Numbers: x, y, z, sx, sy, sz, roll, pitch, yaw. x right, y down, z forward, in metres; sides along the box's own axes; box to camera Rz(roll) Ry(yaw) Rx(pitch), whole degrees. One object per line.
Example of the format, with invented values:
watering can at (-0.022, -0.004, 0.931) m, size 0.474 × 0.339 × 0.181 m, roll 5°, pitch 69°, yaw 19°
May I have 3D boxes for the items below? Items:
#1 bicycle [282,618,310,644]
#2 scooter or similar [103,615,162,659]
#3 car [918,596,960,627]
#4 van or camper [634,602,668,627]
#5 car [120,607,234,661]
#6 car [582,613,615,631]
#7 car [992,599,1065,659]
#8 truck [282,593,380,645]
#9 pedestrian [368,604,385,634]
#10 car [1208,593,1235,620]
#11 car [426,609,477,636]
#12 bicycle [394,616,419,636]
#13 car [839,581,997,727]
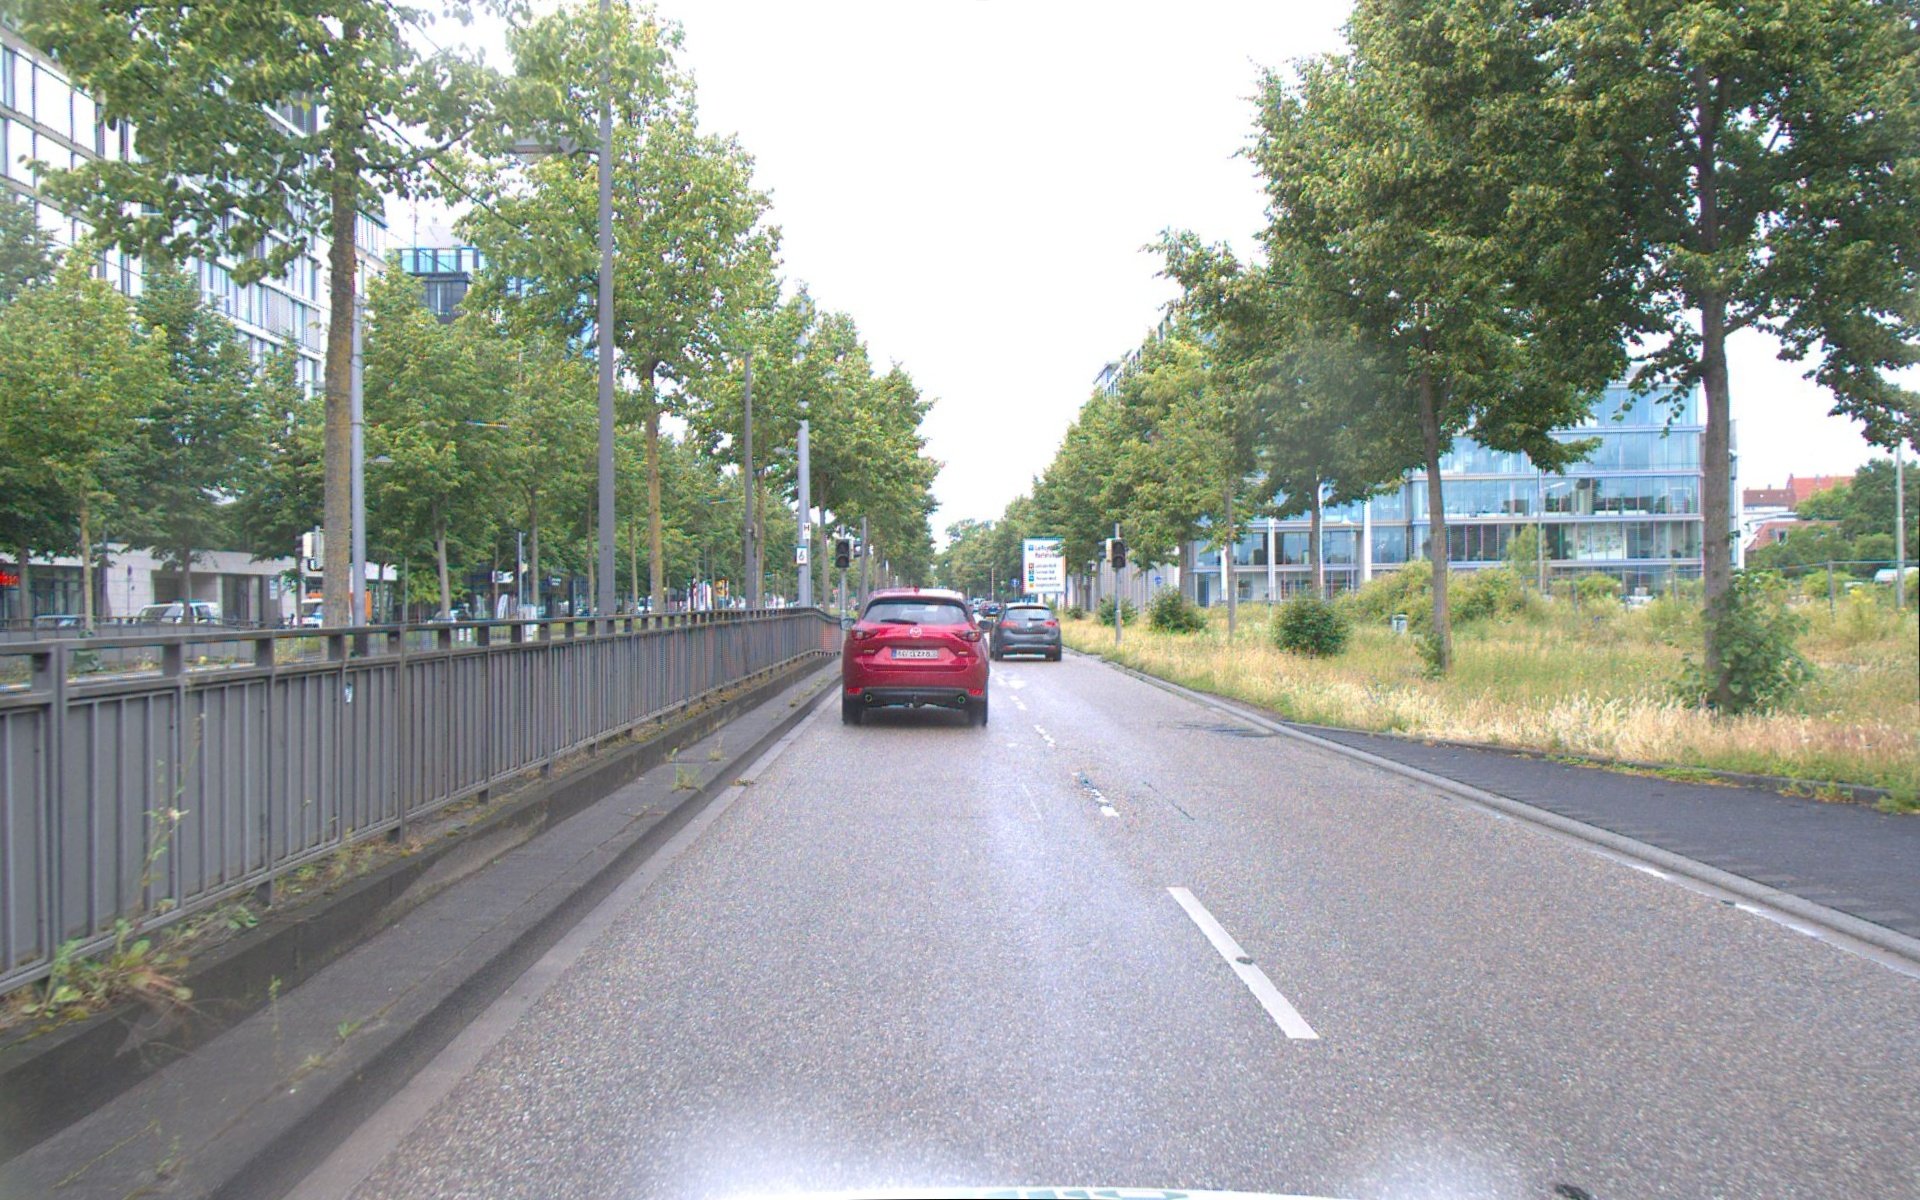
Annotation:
bicycle at (-38.707, 1.829, 96.401) m, size 1.403 × 1.508 × 0.546 m, roll 0°, pitch 0°, yaw -2°
scooter or similar at (-36.091, 1.607, 72.145) m, size 2.083 × 1.857 × 0.884 m, roll 0°, pitch 0°, yaw -5°
car at (-1.043, 0.564, 81.590) m, size 1.928 × 1.462 × 4.550 m, roll 1°, pitch 0°, yaw -2°
van or camper at (-30.829, 1.416, 165.212) m, size 2.384 × 2.356 × 5.849 m, roll 0°, pitch 0°, yaw -1°
car at (-29.369, 1.236, 62.220) m, size 1.953 × 1.884 × 5.163 m, roll -1°, pitch 0°, yaw -2°
car at (-30.307, 1.839, 138.606) m, size 1.953 × 1.402 × 3.999 m, roll 0°, pitch 0°, yaw -1°
car at (1.740, 0.721, 42.782) m, size 1.708 × 1.490 × 3.781 m, roll 0°, pitch 0°, yaw 0°
truck at (-29.861, 0.861, 78.765) m, size 2.377 × 2.332 × 6.307 m, roll -1°, pitch 0°, yaw -1°
pedestrian at (-39.275, 1.289, 111.347) m, size 0.777 × 2.016 × 0.856 m, roll 0°, pitch 0°, yaw 7°
car at (19.171, 0.495, 121.384) m, size 1.815 × 1.609 × 4.001 m, roll 0°, pitch -5°, yaw 6°
car at (-29.576, 1.285, 96.373) m, size 1.817 × 1.491 × 3.987 m, roll -1°, pitch 0°, yaw -2°
bicycle at (-27.633, 1.282, 82.556) m, size 0.586 × 0.962 × 1.757 m, roll -1°, pitch 0°, yaw 2°
car at (-0.548, 0.633, 21.481) m, size 1.860 × 1.706 × 3.999 m, roll 0°, pitch 0°, yaw -2°
